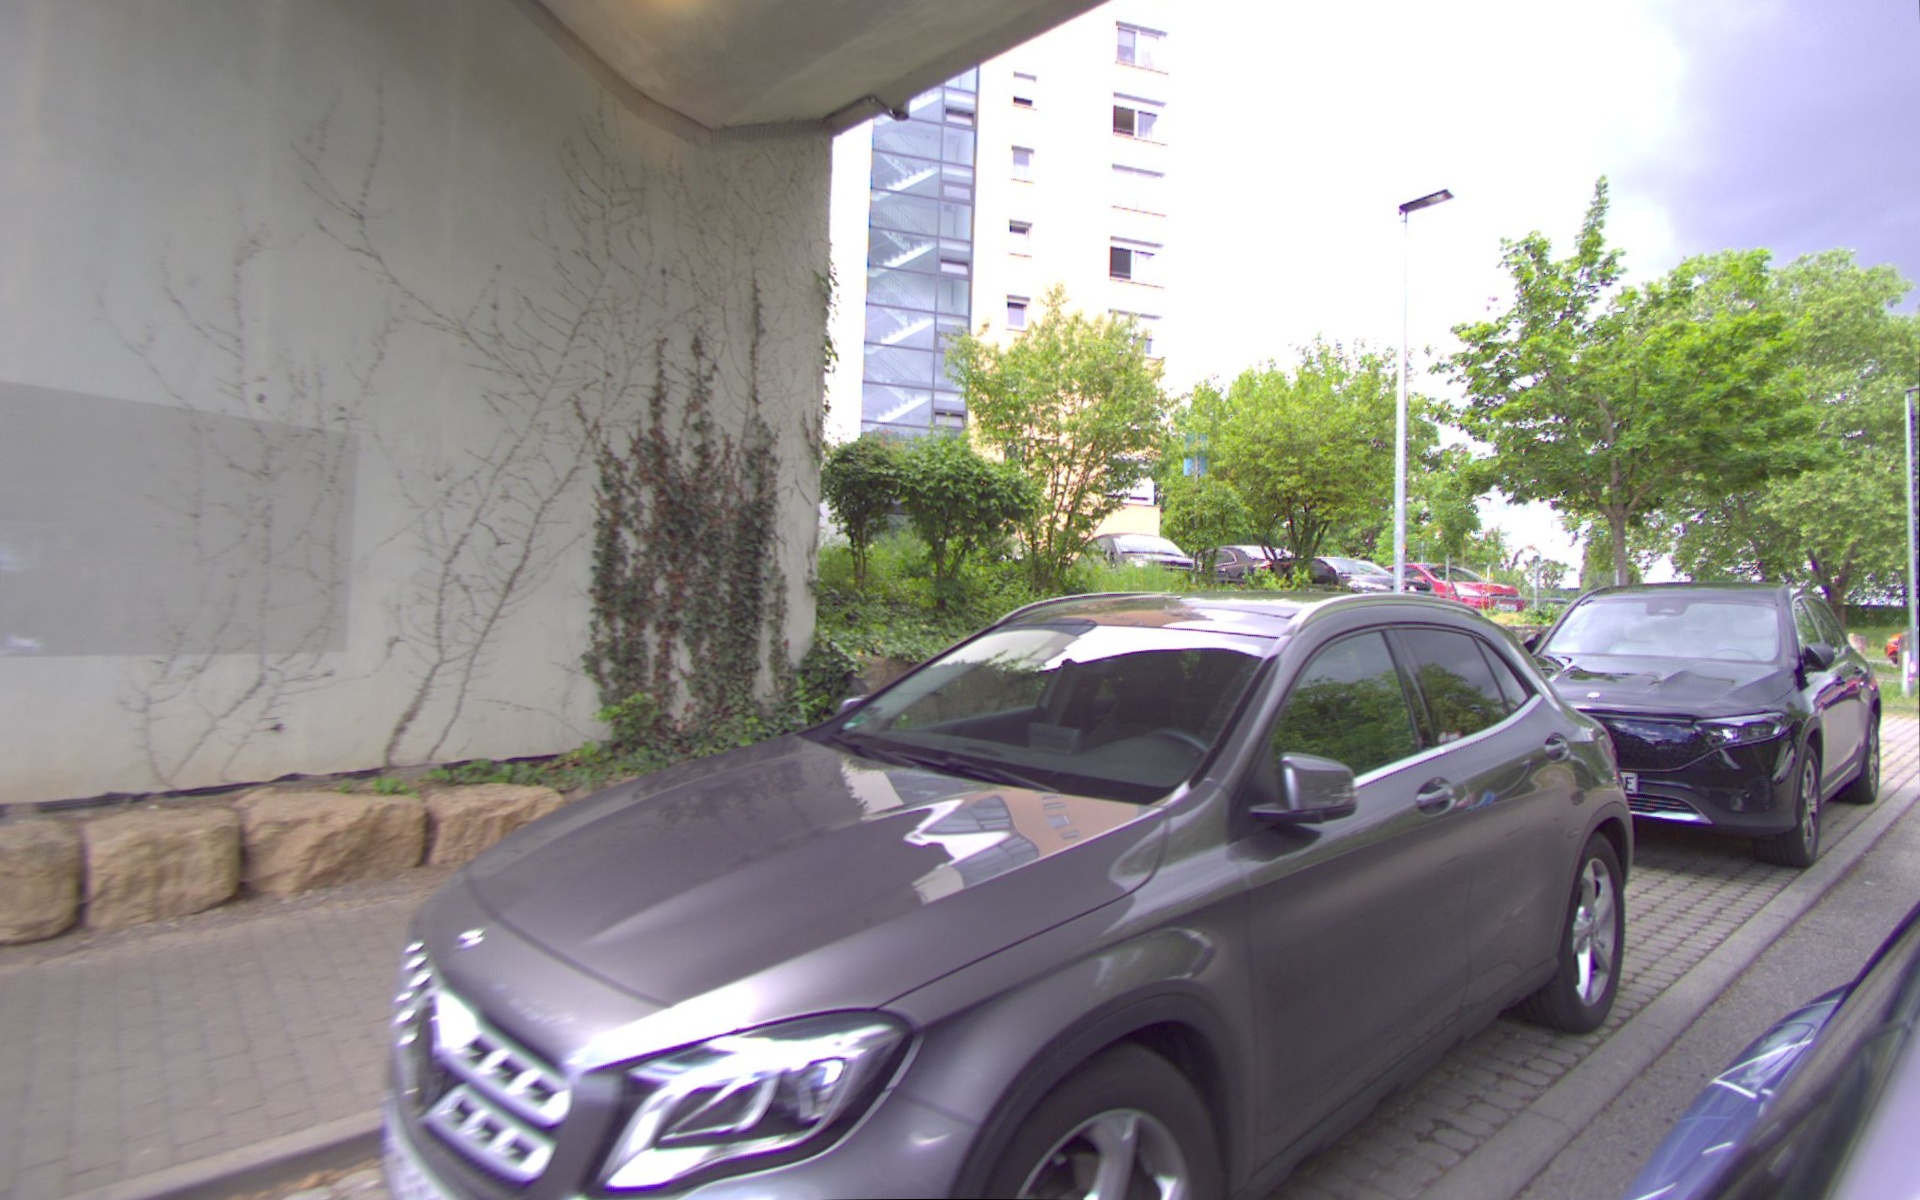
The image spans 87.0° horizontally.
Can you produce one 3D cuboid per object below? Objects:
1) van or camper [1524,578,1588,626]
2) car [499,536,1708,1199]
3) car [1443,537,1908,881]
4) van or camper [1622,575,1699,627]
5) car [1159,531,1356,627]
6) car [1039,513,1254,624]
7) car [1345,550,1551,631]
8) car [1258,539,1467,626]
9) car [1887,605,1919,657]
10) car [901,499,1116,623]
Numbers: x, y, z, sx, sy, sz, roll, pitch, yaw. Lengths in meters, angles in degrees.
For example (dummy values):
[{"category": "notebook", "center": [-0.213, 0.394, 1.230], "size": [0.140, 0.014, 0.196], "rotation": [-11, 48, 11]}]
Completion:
[{"category": "van or camper", "center": [37.169, 0.170, 63.230], "size": [2.083, 2.835, 4.461], "rotation": [0, -2, 13]}, {"category": "car", "center": [0.886, 0.684, 3.308], "size": [4.047, 1.515, 1.702], "rotation": [0, -1, -41]}, {"category": "car", "center": [5.225, 0.561, 7.133], "size": [4.295, 1.699, 1.816], "rotation": [1, 0, -43]}, {"category": "van or camper", "center": [40.540, 0.091, 58.704], "size": [2.083, 2.835, 4.461], "rotation": [0, -2, 13]}, {"category": "car", "center": [5.270, -0.290, 18.431], "size": [1.649, 1.517, 3.668], "rotation": [1, -2, -18]}, {"category": "car", "center": [3.094, -0.428, 17.695], "size": [1.903, 1.635, 4.006], "rotation": [1, -2, -21]}, {"category": "car", "center": [9.717, -0.115, 20.475], "size": [1.649, 1.458, 3.668], "rotation": [1, -2, -18]}, {"category": "car", "center": [7.535, -0.254, 19.371], "size": [1.649, 1.440, 3.806], "rotation": [1, -2, -18]}, {"category": "car", "center": [30.393, 0.947, 30.490], "size": [3.916, 1.535, 1.763], "rotation": [1, -2, -15]}, {"category": "car", "center": [0.612, -0.495, 16.752], "size": [1.903, 1.690, 4.566], "rotation": [1, -2, -21]}]
